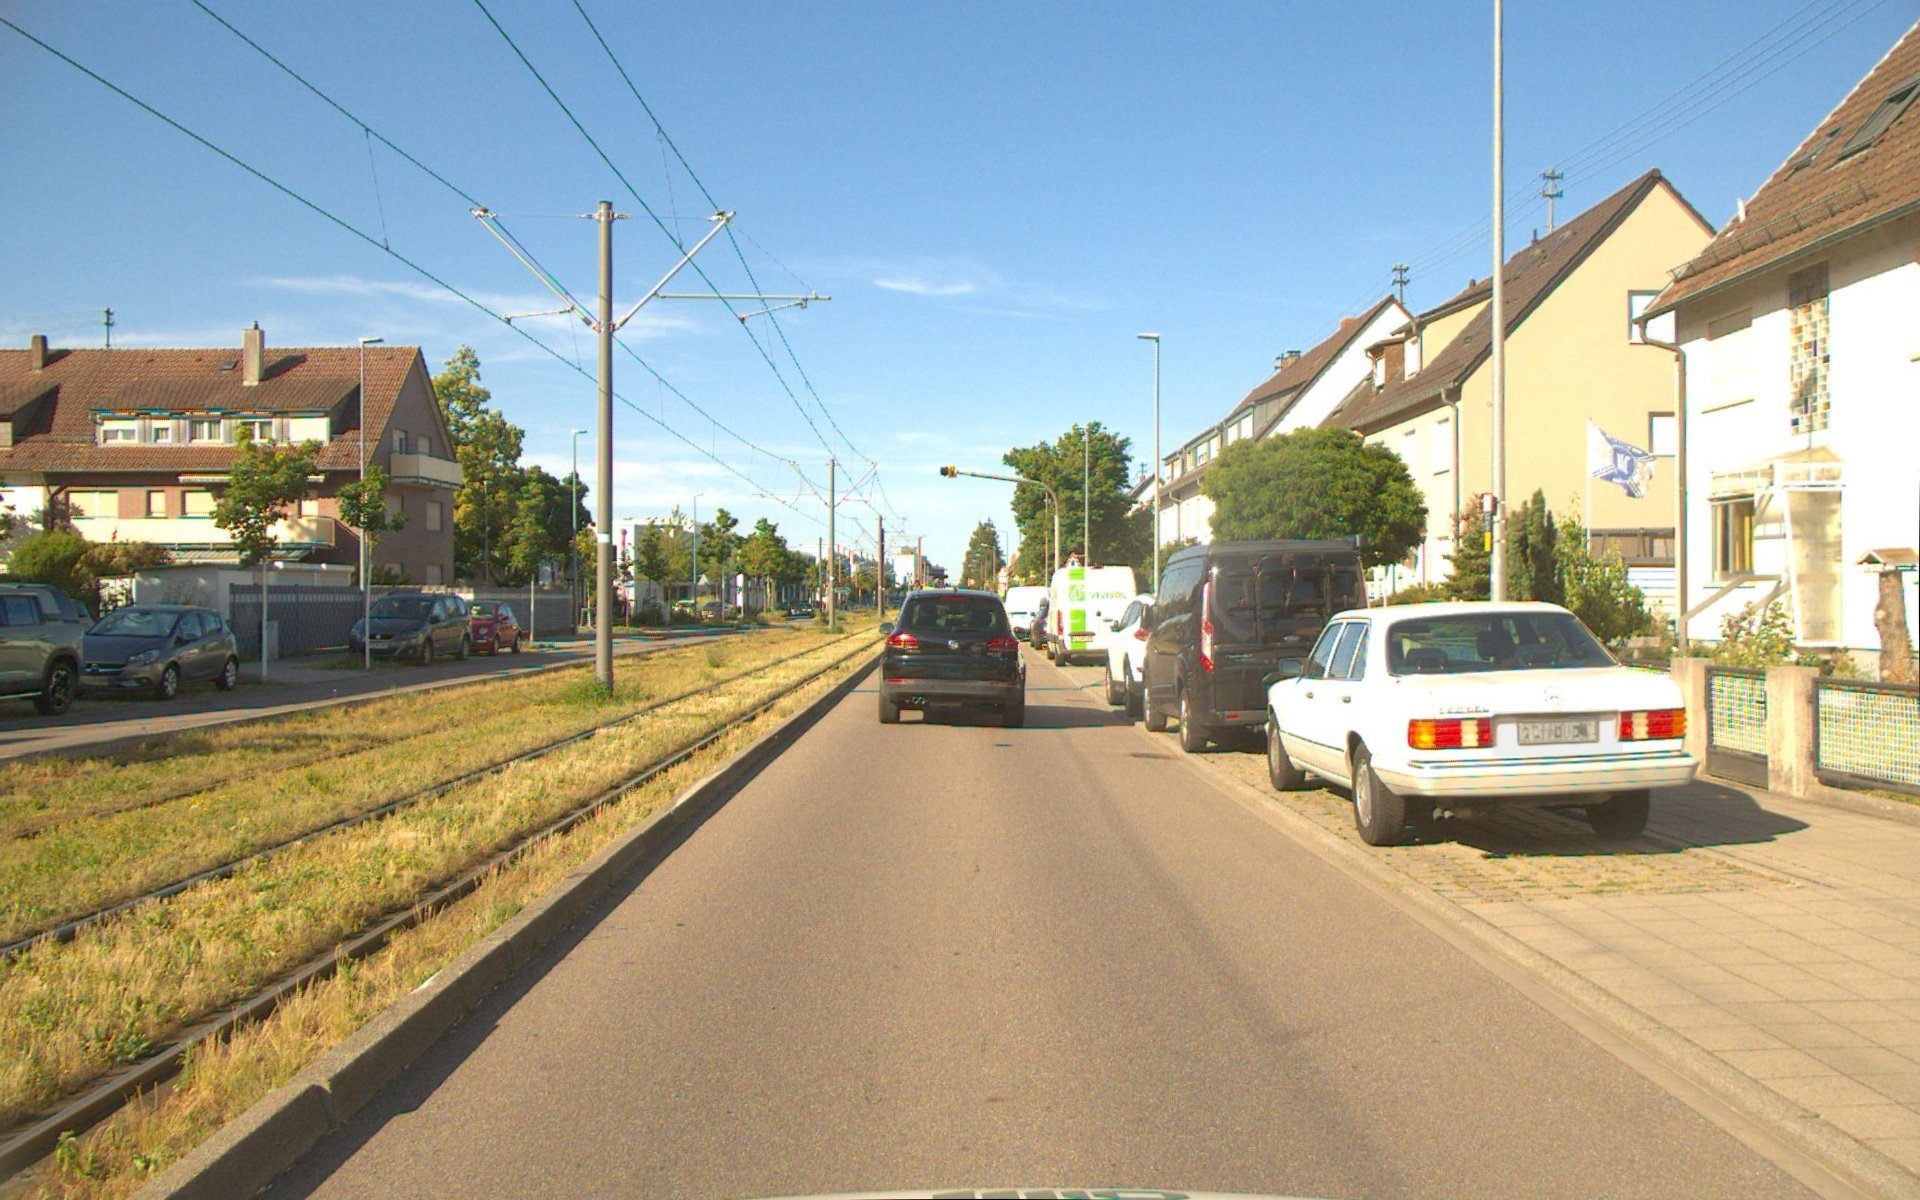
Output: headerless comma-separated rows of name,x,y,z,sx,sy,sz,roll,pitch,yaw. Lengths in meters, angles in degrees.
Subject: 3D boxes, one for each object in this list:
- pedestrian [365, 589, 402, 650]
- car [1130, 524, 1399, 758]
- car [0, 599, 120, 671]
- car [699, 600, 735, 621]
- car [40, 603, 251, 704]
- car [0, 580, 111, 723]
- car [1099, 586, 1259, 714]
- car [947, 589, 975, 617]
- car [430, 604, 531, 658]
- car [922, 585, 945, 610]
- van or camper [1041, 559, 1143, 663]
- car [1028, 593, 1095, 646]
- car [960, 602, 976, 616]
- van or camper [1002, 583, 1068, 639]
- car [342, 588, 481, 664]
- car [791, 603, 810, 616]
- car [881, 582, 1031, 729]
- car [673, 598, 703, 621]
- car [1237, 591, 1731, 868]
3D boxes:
pedestrian,-16.084,0.543,46.164,0.682,1.669,0.919,1,-1,-2
car,3.182,0.394,18.433,1.920,2.181,5.334,-1,0,-1
car,-20.094,0.729,35.219,3.537,1.499,1.705,0,0,1
car,-18.597,0.805,126.797,1.772,1.486,4.319,1,0,4
car,-13.524,0.839,27.735,1.642,1.517,4.048,2,0,-3
car,-13.399,0.659,21.977,1.709,1.855,4.841,2,0,0
car,3.093,0.667,24.151,1.690,1.674,4.318,-1,0,-1
car,0.045,0.212,112.791,1.596,1.860,4.127,-1,0,-5
car,-13.570,0.843,46.993,1.660,1.429,4.078,-1,0,0
car,-2.763,-0.222,174.305,2.345,2.609,5.529,0,0,0
van or camper,3.169,0.264,40.953,1.953,2.310,6.304,-2,0,0
car,3.109,0.578,51.345,1.713,1.520,5.154,-2,0,0
car,0.968,1.081,204.772,1.740,1.699,3.998,0,0,-2
van or camper,2.856,0.390,61.722,1.985,1.990,5.299,-1,0,7
car,-13.498,0.598,41.020,1.782,1.714,4.846,2,0,0
car,-18.282,1.072,189.671,1.653,1.413,4.388,-2,0,1
car,-0.122,0.663,21.468,1.740,1.699,3.998,1,0,-2
car,-18.685,0.660,113.853,1.513,1.517,3.774,1,0,-2
car,3.379,0.704,11.990,1.814,1.469,5.614,-2,0,1
